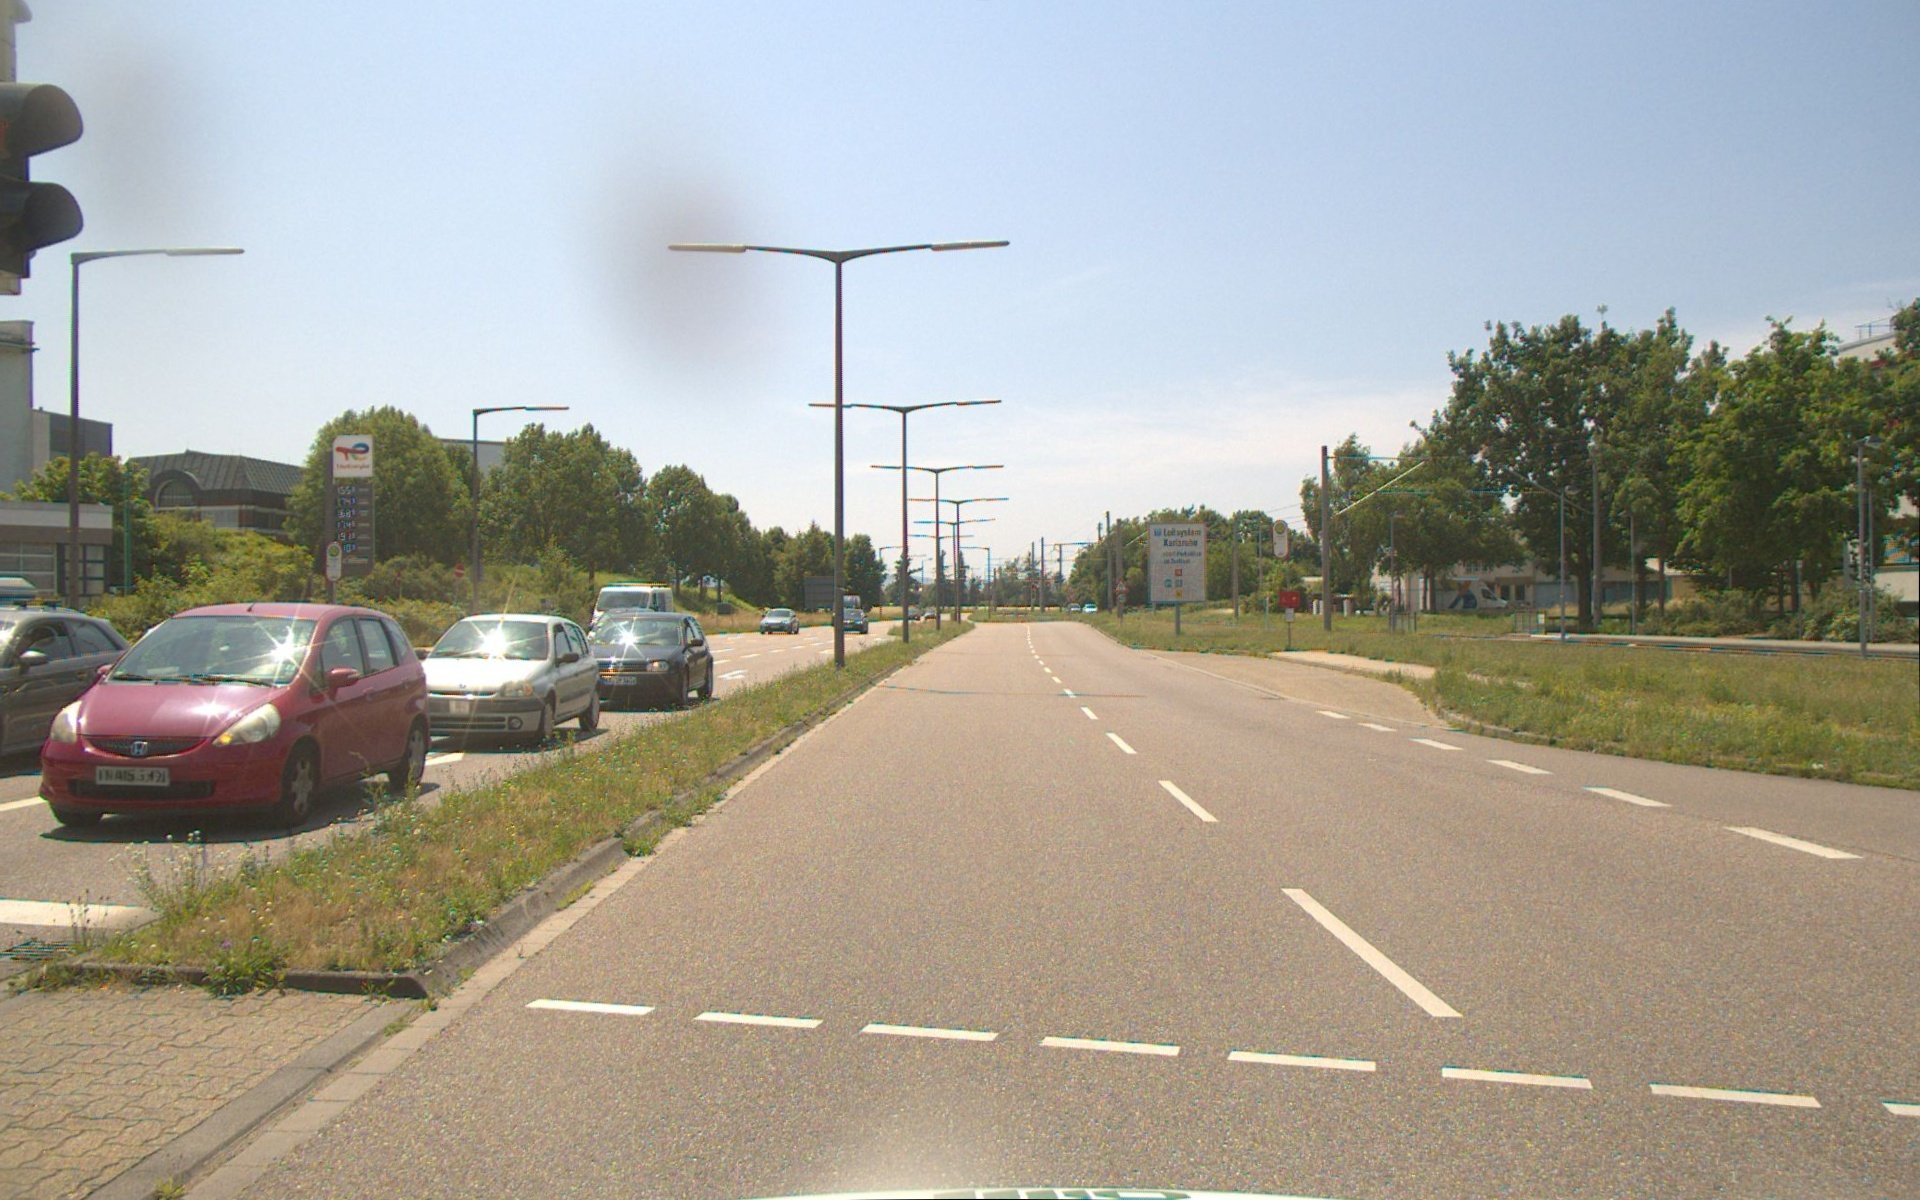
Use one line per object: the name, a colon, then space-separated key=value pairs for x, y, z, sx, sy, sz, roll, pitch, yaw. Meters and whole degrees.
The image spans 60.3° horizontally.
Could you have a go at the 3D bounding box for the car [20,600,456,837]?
car: x=-5.253 y=0.774 z=12.644 sx=1.624 sy=1.516 sz=3.999 roll=0 pitch=0 yaw=-1

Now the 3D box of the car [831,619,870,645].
car: x=-6.607 y=1.944 z=100.230 sx=1.694 sy=1.483 sz=4.567 roll=-1 pitch=0 yaw=4

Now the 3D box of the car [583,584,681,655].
car: x=-11.401 y=0.681 z=57.897 sx=2.203 sy=2.313 sz=5.449 roll=1 pitch=-1 yaw=1

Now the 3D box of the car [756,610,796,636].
car: x=-10.772 y=1.339 z=96.912 sx=1.793 sy=1.474 sz=4.851 roll=-1 pitch=0 yaw=0

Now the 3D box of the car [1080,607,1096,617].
car: x=16.512 y=1.576 z=212.732 sx=1.532 sy=1.200 sz=3.076 roll=-1 pitch=-1 yaw=-5

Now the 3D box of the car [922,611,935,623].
car: x=-4.259 y=2.334 z=225.403 sx=1.657 sy=1.518 sz=4.000 roll=-1 pitch=0 yaw=0

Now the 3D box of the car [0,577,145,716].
car: x=-13.270 y=0.614 z=22.528 sx=1.925 sy=1.781 sz=5.021 roll=0 pitch=0 yaw=-1

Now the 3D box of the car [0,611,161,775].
car: x=-9.122 y=0.811 z=15.290 sx=1.564 sy=1.409 sz=4.002 roll=1 pitch=0 yaw=-1

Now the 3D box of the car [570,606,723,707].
car: x=-4.887 y=0.843 z=26.304 sx=1.641 sy=1.459 sz=4.190 roll=0 pitch=0 yaw=0

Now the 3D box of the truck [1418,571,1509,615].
truck: x=36.313 y=-0.482 z=119.348 sx=5.729 sy=2.893 sz=2.316 roll=-2 pitch=-1 yaw=-7

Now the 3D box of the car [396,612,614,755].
car: x=-5.177 y=0.893 z=19.293 sx=1.529 sy=1.448 sz=3.853 roll=0 pitch=0 yaw=-1
